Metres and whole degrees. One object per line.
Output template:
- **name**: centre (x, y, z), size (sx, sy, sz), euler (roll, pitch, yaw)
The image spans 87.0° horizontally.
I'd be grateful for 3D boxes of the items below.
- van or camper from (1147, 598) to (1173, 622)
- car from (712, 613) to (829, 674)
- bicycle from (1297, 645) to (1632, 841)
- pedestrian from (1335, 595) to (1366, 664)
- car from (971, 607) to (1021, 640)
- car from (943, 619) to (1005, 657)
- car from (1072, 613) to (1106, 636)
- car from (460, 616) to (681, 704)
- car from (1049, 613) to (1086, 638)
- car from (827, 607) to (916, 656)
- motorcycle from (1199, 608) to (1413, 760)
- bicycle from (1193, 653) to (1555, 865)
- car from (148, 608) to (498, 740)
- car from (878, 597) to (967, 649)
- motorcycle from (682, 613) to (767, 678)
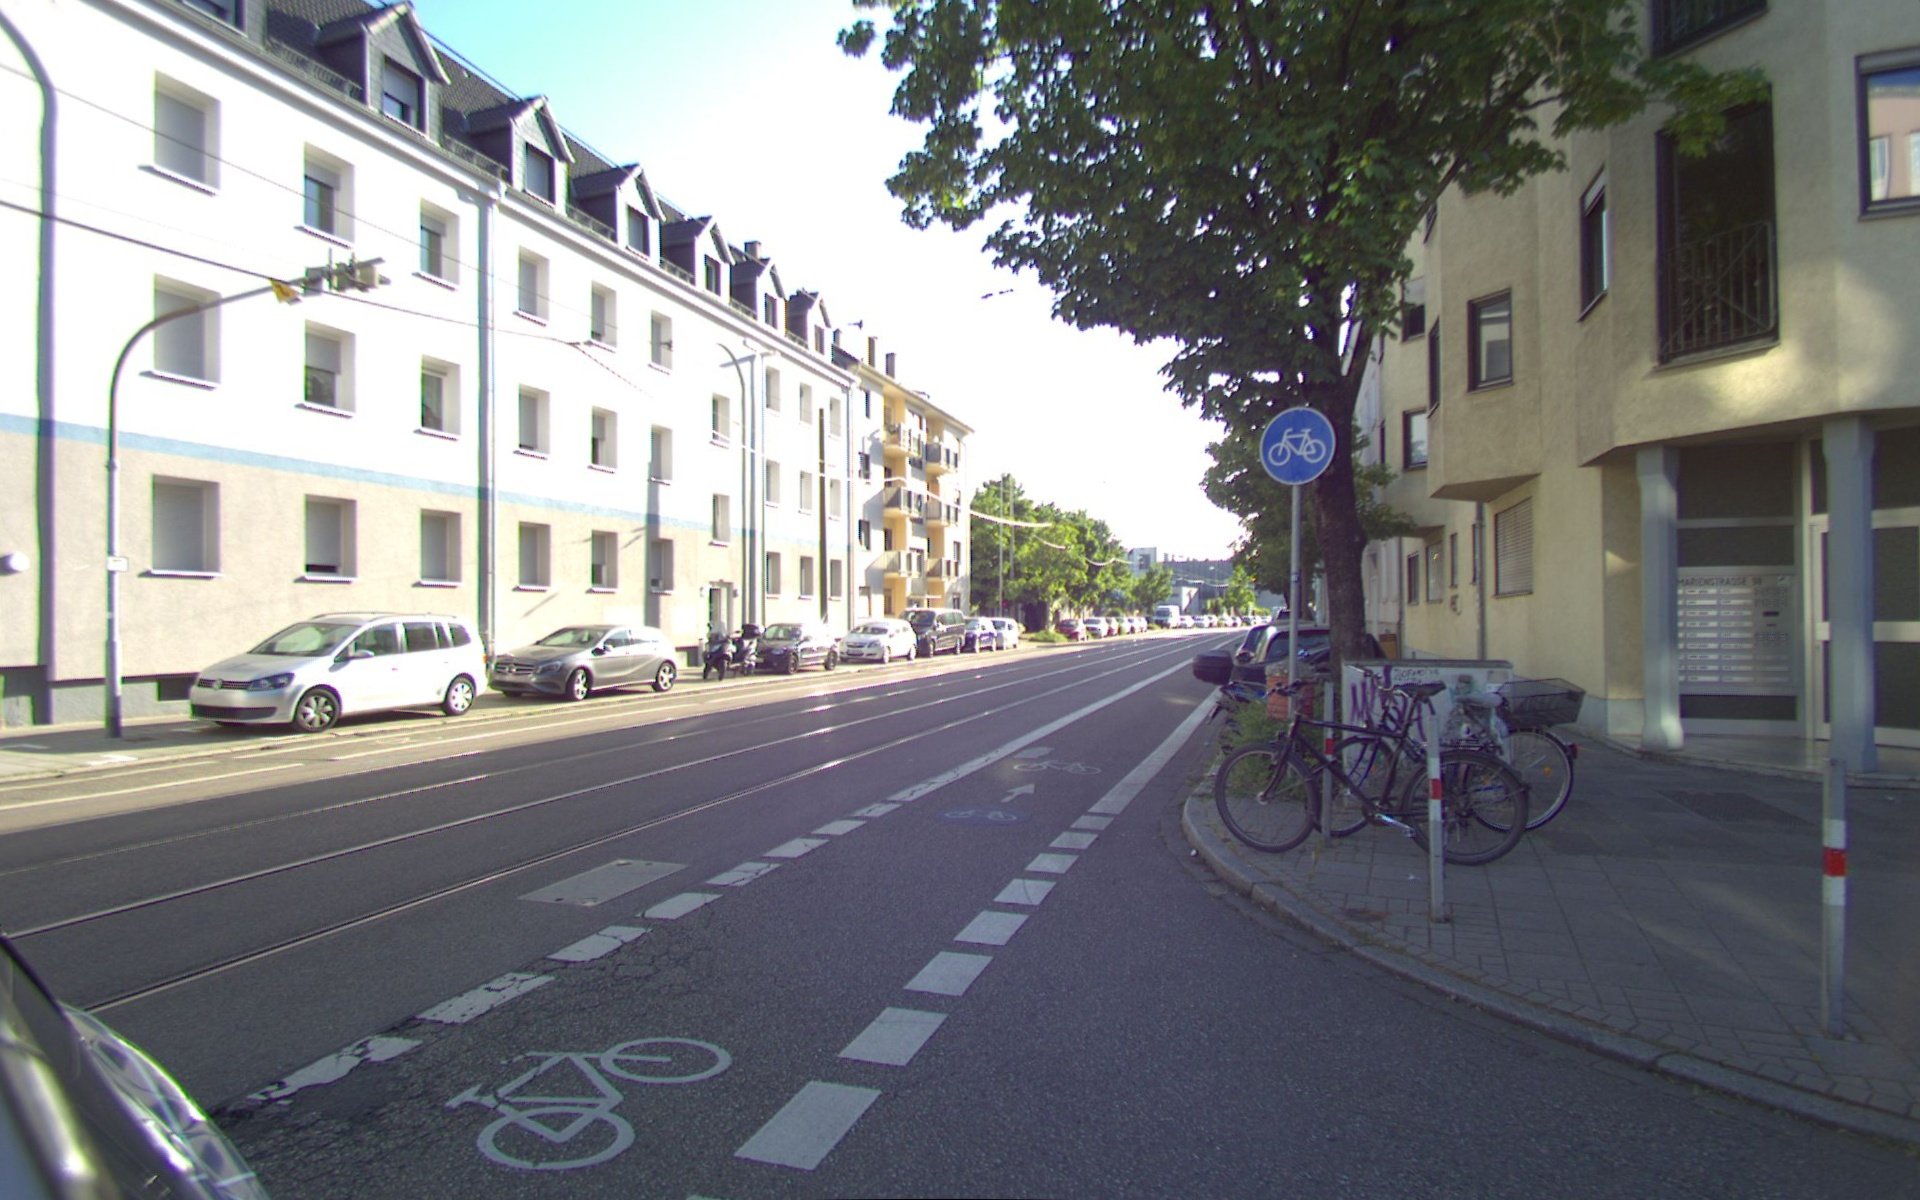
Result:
- **van or camper**: centre (22.912, 1.097, 115.984), size (2.076, 2.583, 5.656), euler (-2, 0, 20)
- **car**: centre (-5.392, 1.192, 29.301), size (1.601, 1.583, 3.879), euler (1, 0, 19)
- **bicycle**: centre (3.080, 0.841, 6.365), size (1.798, 1.093, 0.591), euler (-1, -1, 21)
- **pedestrian**: centre (10.912, 0.820, 28.311), size (0.689, 1.877, 0.905), euler (-1, -1, 17)
- **car**: centre (1.829, 1.140, 50.591), size (1.545, 1.554, 3.610), euler (1, 0, 18)
- **car**: centre (0.679, 1.666, 45.530), size (1.601, 1.583, 4.193), euler (1, 0, 18)
- **car**: centre (9.836, 1.835, 76.962), size (1.814, 1.583, 4.453), euler (1, 0, 17)
- **car**: centre (-7.774, 1.122, 20.705), size (1.855, 1.566, 4.338), euler (1, -1, 19)
- **car**: centre (7.215, 1.692, 67.713), size (1.601, 1.583, 4.451), euler (1, 0, 18)
- **car**: centre (-3.030, 1.045, 35.385), size (1.791, 1.583, 3.882), euler (1, 0, 17)
- **motorcycle**: centre (3.455, 0.830, 10.280), size (1.954, 1.458, 0.718), euler (-1, -1, 12)
- **bicycle**: centre (2.366, 0.872, 5.968), size (1.869, 1.093, 0.591), euler (-1, -1, 21)
- **car**: centre (-9.457, 0.977, 15.561), size (1.744, 1.678, 4.603), euler (1, 0, 15)
- **car**: centre (-1.418, 0.874, 40.870), size (1.920, 1.935, 4.972), euler (1, 0, 19)
- **motorcycle**: centre (-5.943, 1.119, 25.778), size (0.802, 1.533, 2.691), euler (1, 0, 19)
